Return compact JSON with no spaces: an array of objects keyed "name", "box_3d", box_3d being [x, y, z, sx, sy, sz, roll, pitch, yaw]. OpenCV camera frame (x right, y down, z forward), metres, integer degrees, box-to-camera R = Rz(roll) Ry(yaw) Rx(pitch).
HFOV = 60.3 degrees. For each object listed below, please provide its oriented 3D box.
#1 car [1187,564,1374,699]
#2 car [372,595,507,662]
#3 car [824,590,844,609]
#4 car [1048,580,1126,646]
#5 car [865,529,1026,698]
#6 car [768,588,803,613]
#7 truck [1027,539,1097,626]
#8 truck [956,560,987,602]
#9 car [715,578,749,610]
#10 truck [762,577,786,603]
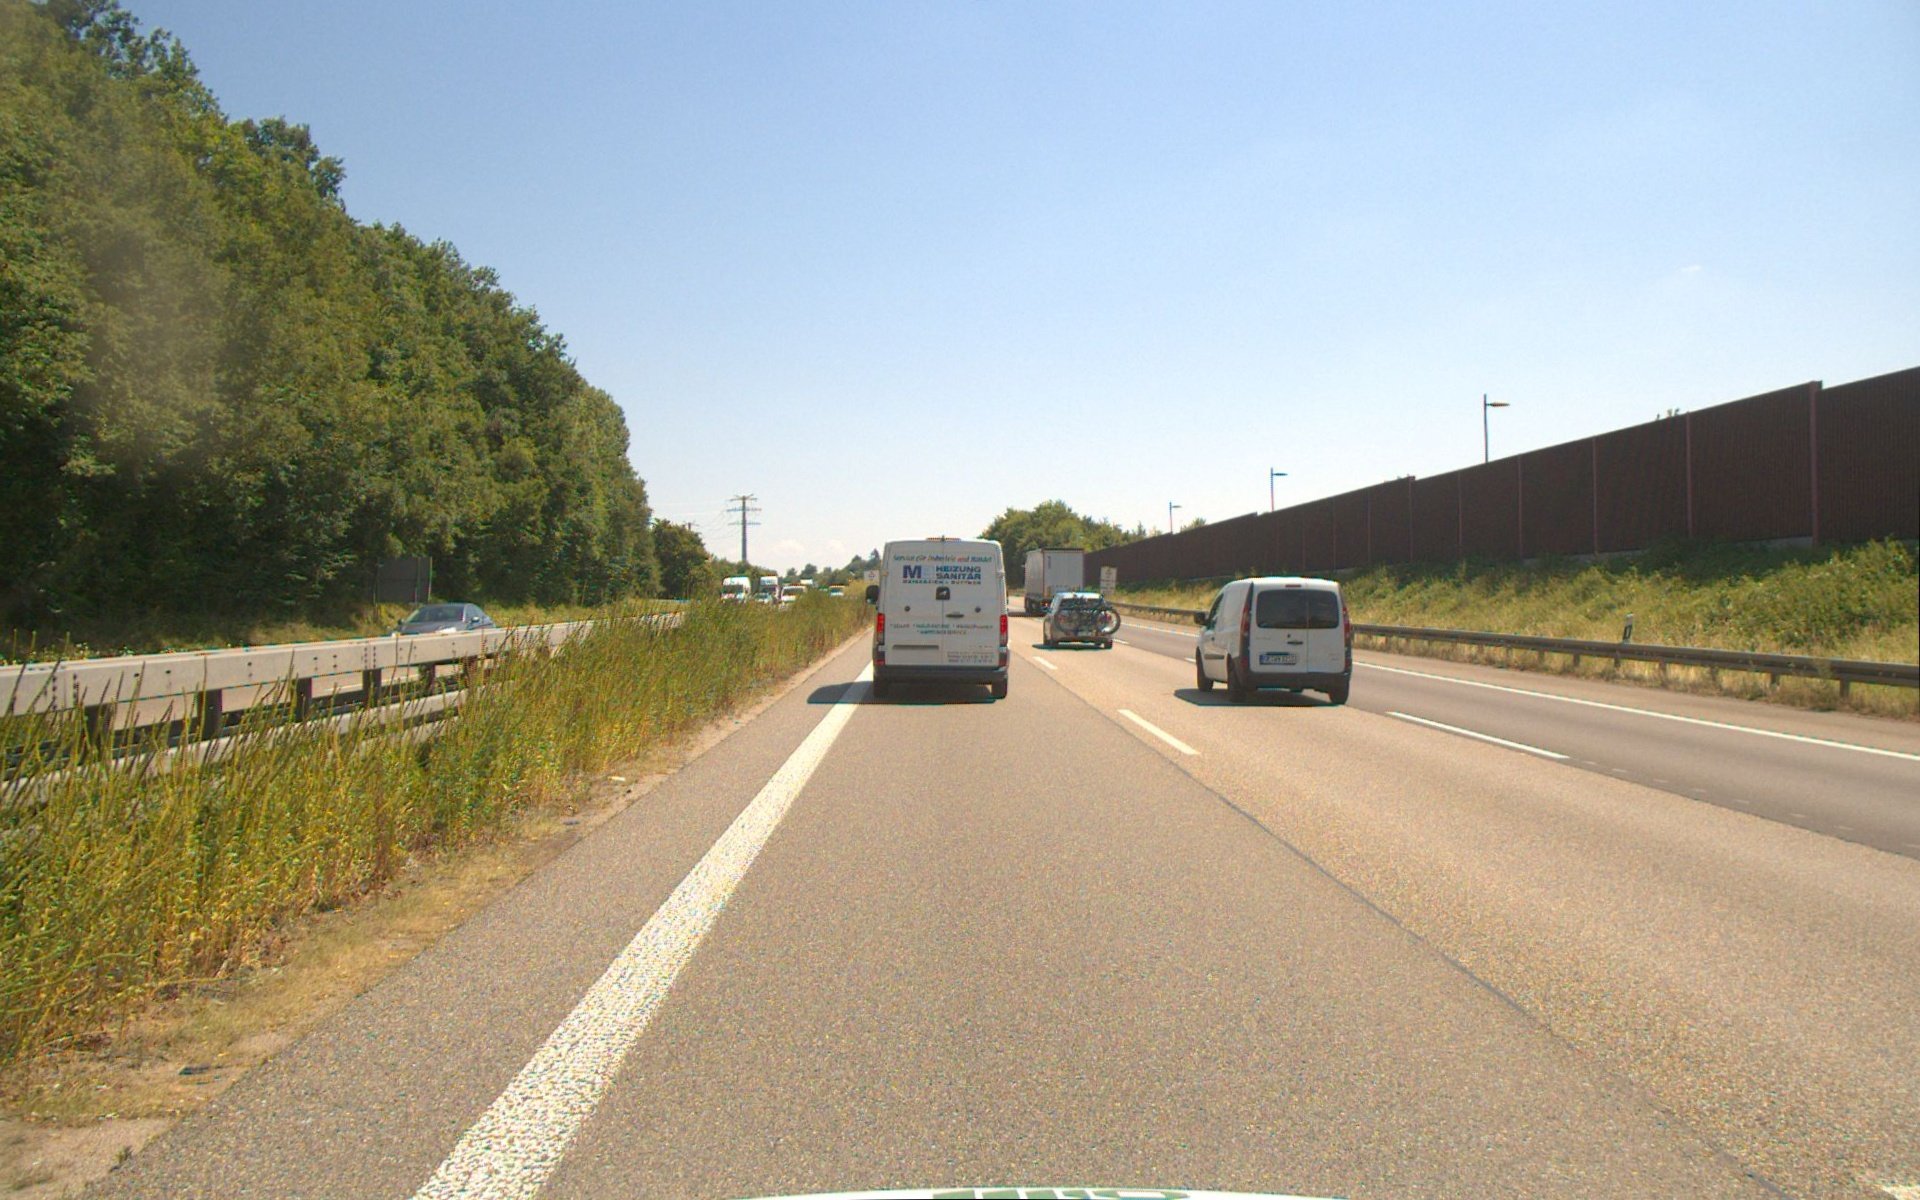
[{"name":"car","box_3d":[4.805,0.463,25.408,1.911,1.870,4.176,-1,-1,-2]},{"name":"car","box_3d":[-13.061,0.673,41.845,1.953,1.545,4.721,-2,0,-1]},{"name":"car","box_3d":[-13.759,-0.031,180.573,1.953,2.049,3.998,-1,0,-2]},{"name":"car","box_3d":[3.550,0.376,46.862,1.935,1.763,4.089,-1,-1,1]},{"name":"car","box_3d":[-0.348,0.208,25.487,2.139,2.294,5.358,1,-1,-4]},{"name":"car","box_3d":[-11.894,0.050,113.054,1.953,1.615,4.425,-2,0,-1]},{"name":"truck","box_3d":[6.306,-0.962,104.416,3.710,5.087,12.519,1,-1,1]},{"name":"truck","box_3d":[1.546,-2.366,212.288,3.710,5.087,12.519,1,-1,1]},{"name":"car","box_3d":[-18.201,-0.485,132.296,2.081,2.380,5.084,-2,0,-1]},{"name":"truck","box_3d":[-21.449,-1.142,190.560,1.952,2.789,5.858,1,-1,1]}]
